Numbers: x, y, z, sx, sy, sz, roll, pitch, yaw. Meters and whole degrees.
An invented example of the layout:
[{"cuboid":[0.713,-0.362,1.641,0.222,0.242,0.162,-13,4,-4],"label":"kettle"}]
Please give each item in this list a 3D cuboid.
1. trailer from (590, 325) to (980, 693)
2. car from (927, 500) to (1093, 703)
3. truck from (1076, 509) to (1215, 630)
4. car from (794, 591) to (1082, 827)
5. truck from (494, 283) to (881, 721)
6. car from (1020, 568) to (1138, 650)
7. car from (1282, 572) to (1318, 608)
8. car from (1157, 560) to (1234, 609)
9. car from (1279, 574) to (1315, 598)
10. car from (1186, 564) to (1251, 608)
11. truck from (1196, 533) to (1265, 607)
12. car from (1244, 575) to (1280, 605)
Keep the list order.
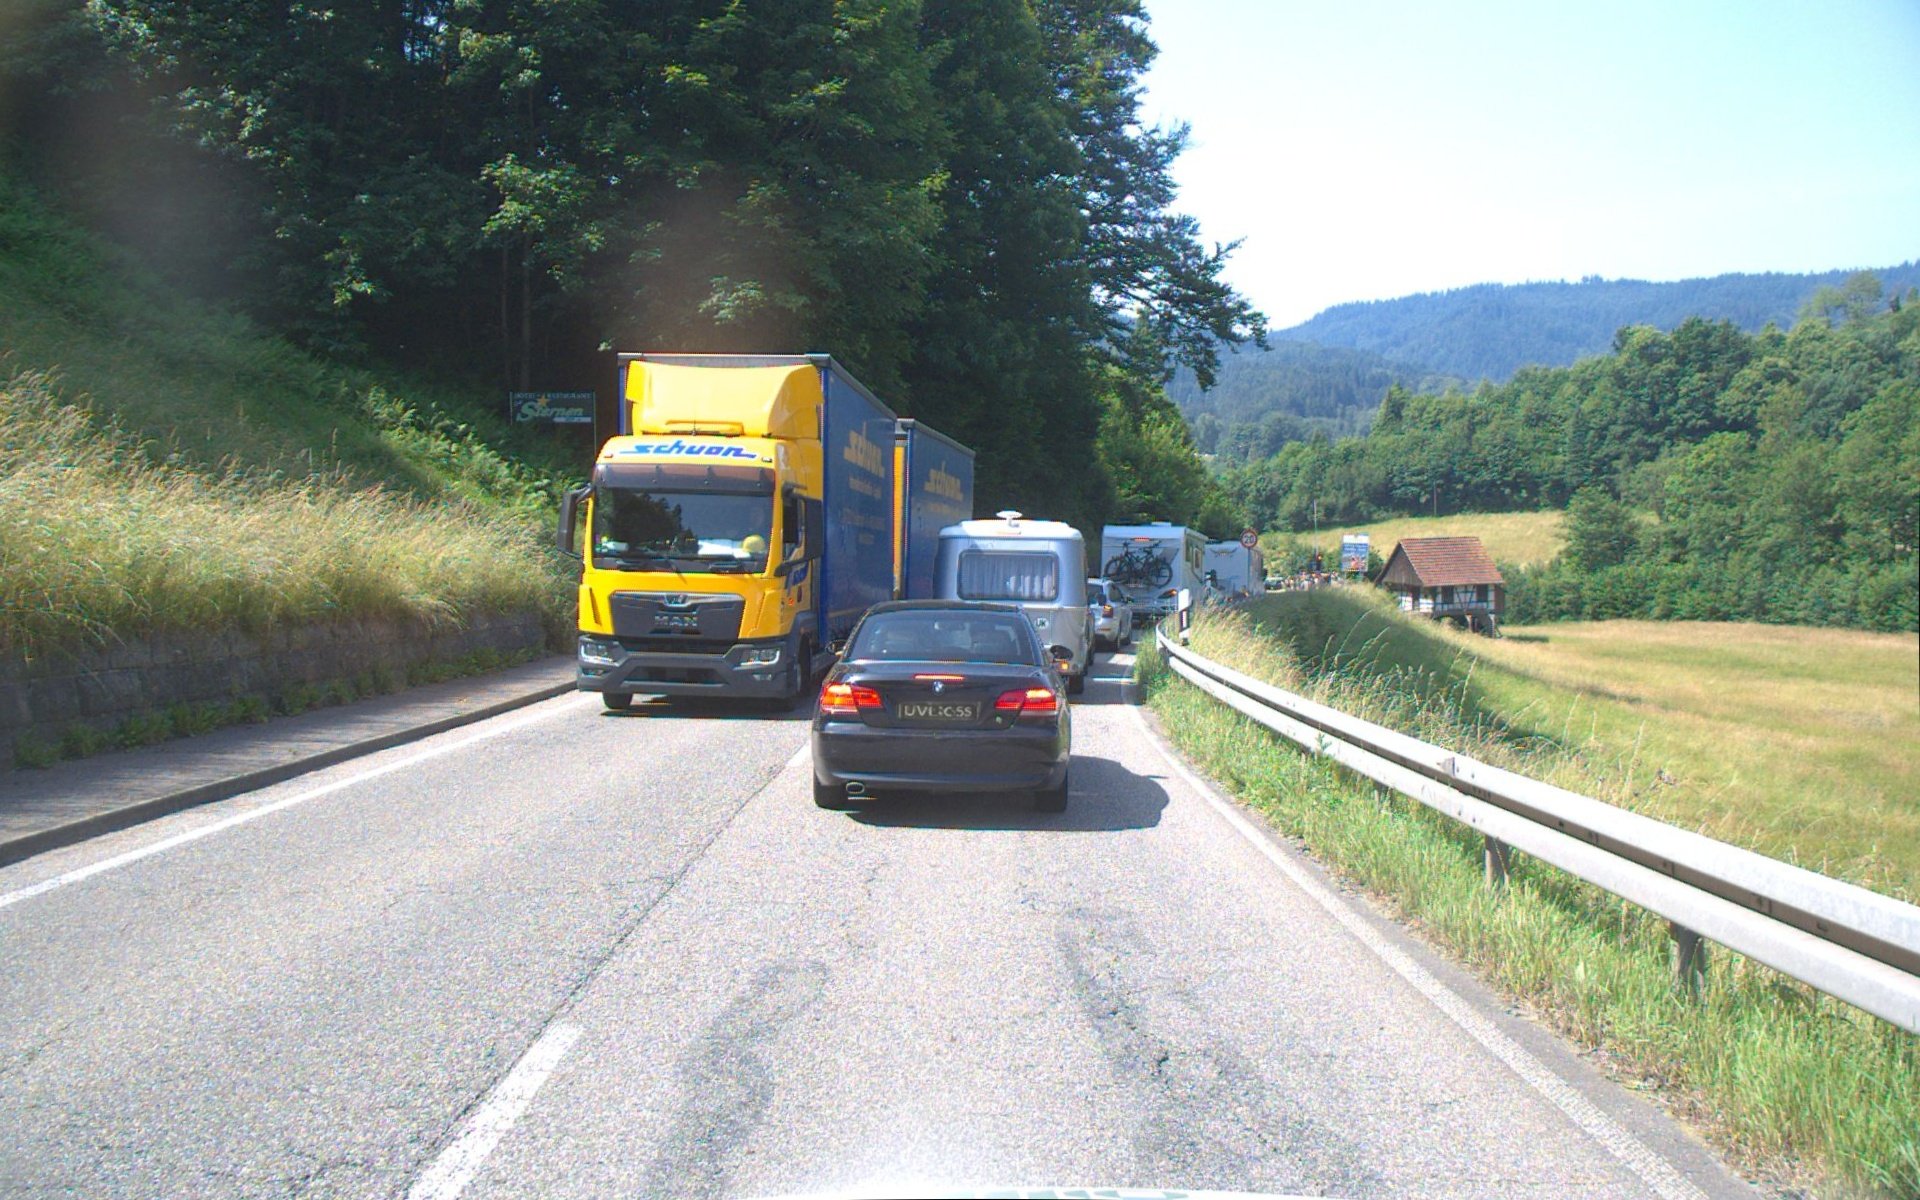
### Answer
[{"cuboid":[-2.116,-1.324,28.164,3.190,4.494,15.329,2,2,7],"label":"trailer"},{"cuboid":[0.795,-0.037,22.384,1.951,2.394,4.917,1,1,5],"label":"car"},{"cuboid":[5.396,-0.876,47.016,2.732,3.049,6.873,3,2,16],"label":"truck"},{"cuboid":[-0.058,0.651,11.954,1.734,1.359,3.768,1,1,2],"label":"car"},{"cuboid":[-3.025,-1.133,20.553,3.121,4.473,6.576,2,2,5],"label":"truck"},{"cuboid":[2.570,0.150,34.829,1.951,1.510,4.004,3,1,11],"label":"car"},{"cuboid":[20.670,-0.578,100.399,1.952,1.959,4.003,4,0,13],"label":"car"},{"cuboid":[8.115,-0.560,56.681,1.952,1.489,4.003,3,2,17],"label":"car"},{"cuboid":[24.004,-1.005,117.562,1.952,1.603,4.001,2,0,19],"label":"car"},{"cuboid":[9.760,-0.550,62.228,1.750,1.489,4.002,3,2,18],"label":"car"},{"cuboid":[11.293,-1.175,68.712,2.190,2.853,6.236,2,0,15],"label":"truck"},{"cuboid":[16.627,-0.531,91.032,1.866,1.512,4.003,2,0,11],"label":"car"}]
